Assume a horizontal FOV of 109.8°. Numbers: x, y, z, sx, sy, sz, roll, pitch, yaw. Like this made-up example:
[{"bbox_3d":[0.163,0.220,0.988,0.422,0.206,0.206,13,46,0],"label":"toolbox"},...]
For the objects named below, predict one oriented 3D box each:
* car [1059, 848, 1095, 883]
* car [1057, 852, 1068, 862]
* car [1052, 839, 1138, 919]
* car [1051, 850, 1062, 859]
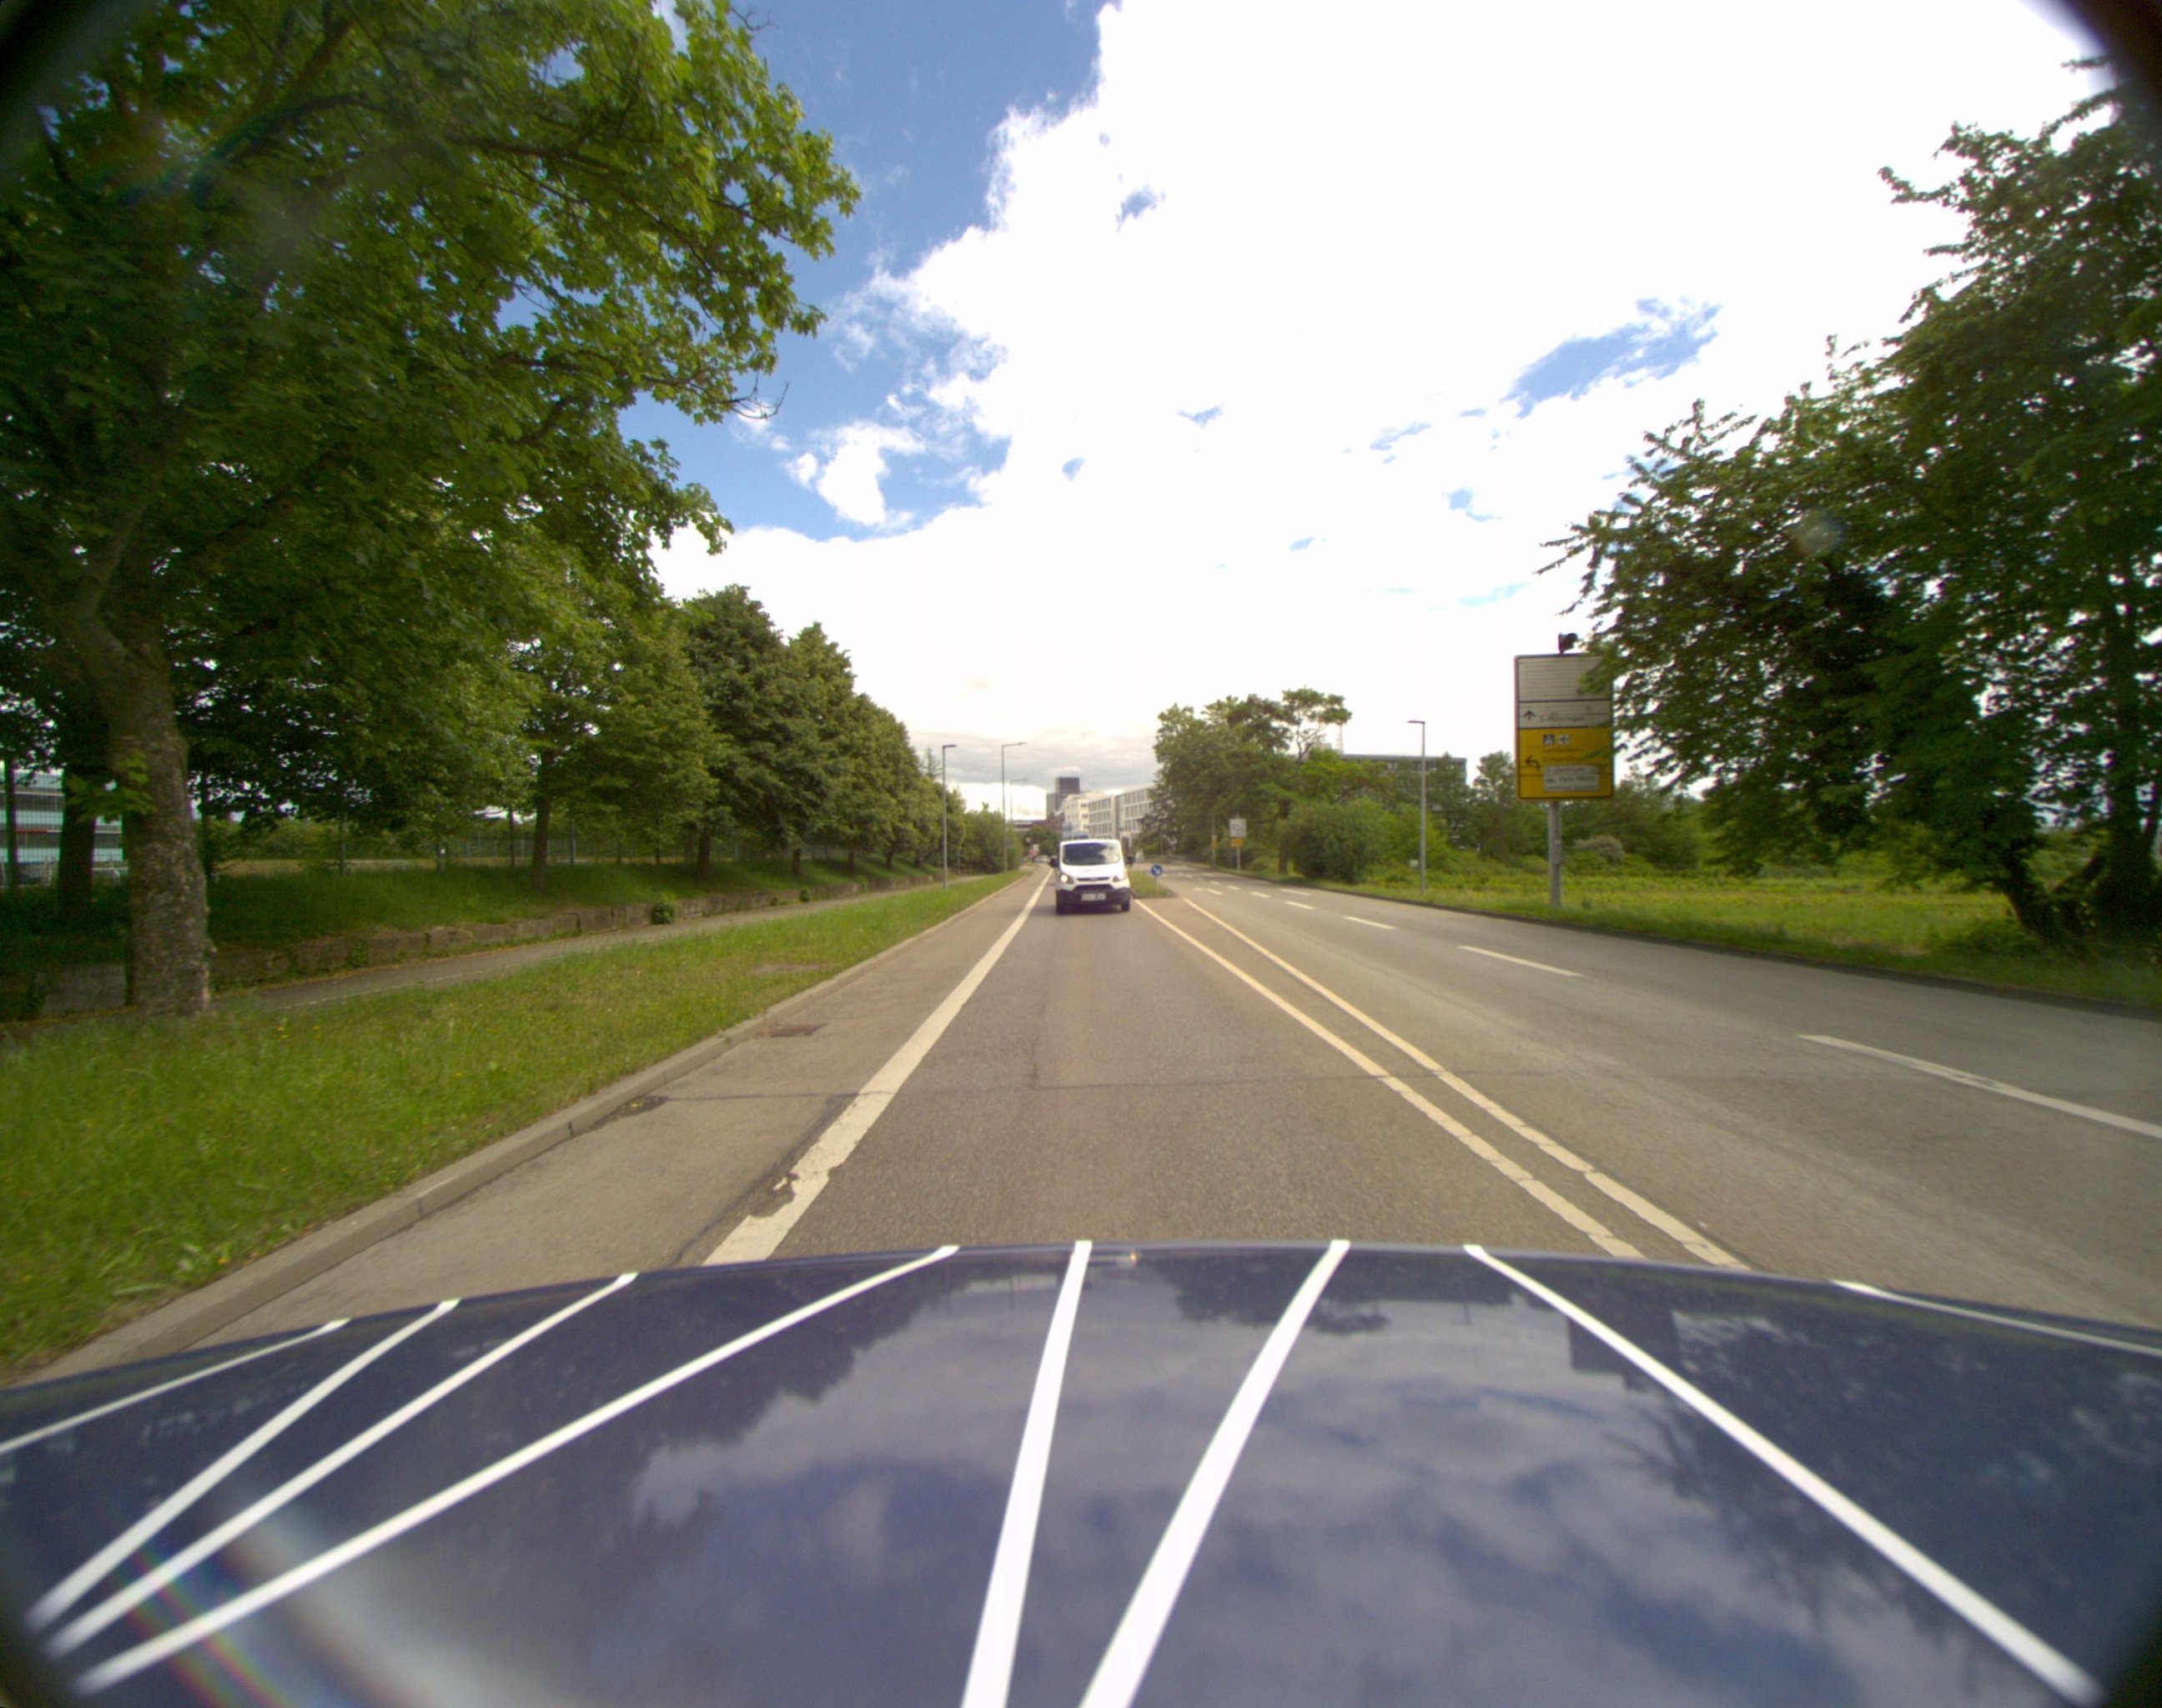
[{"bbox_3d":[-0.268,0.637,43.386,1.872,1.836,4.370,-2,0,-1],"label":"car"},{"bbox_3d":[-3.441,0.577,142.697,1.872,1.685,4.370,-2,0,-1],"label":"car"},{"bbox_3d":[0.260,0.625,22.438,2.122,1.963,6.205,-2,0,-2],"label":"car"},{"bbox_3d":[-4.987,0.131,154.383,1.873,1.685,4.368,-2,0,-7],"label":"car"}]
